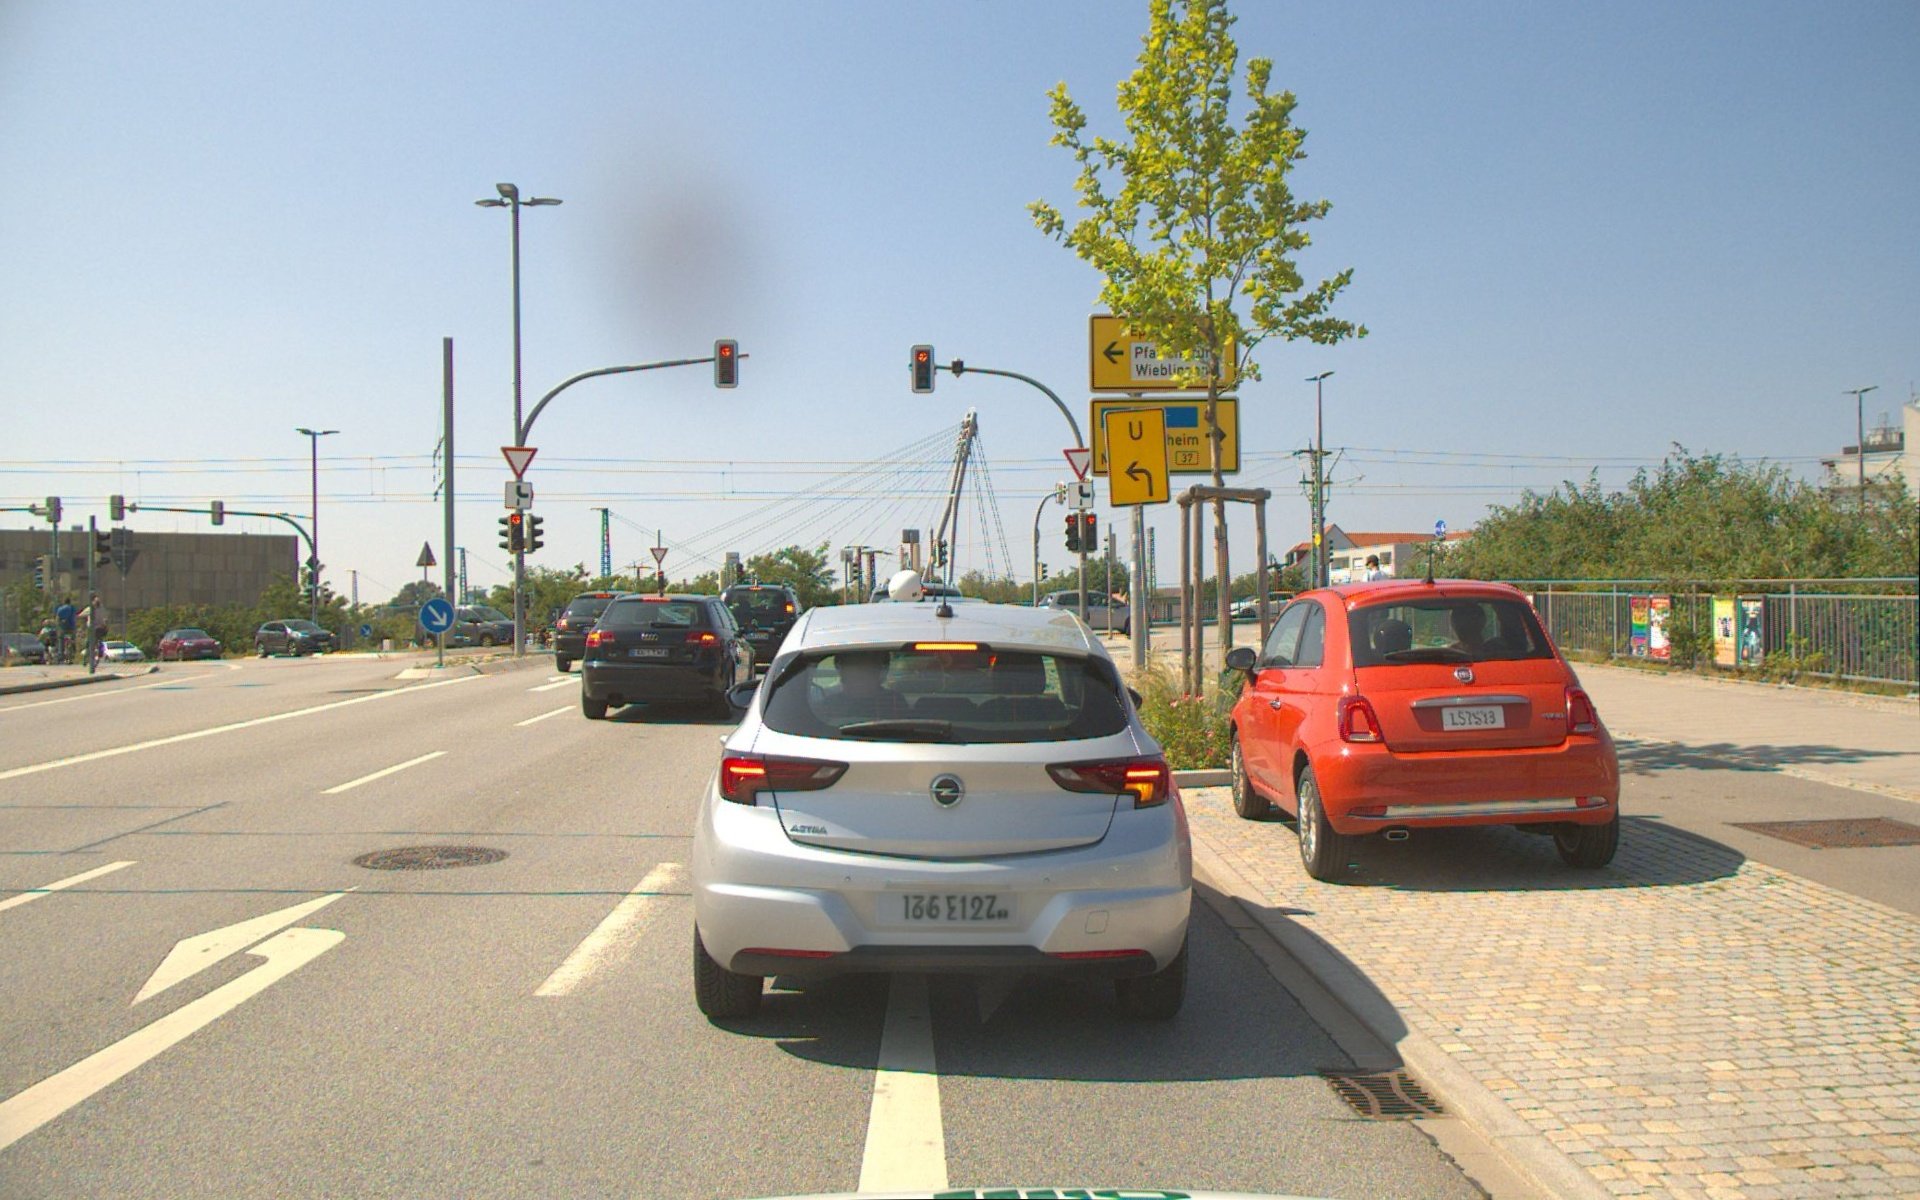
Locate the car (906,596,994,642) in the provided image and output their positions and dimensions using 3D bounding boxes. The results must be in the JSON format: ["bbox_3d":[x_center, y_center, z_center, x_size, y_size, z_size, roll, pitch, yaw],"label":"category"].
[{"bbox_3d":[-0.492,0.906,76.791,3.909,2.049,1.998,-1,-1,-5],"label":"car"}]

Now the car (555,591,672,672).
[{"bbox_3d":[-6.392,0.576,30.785,1.555,1.419,3.338,0,-1,-2],"label":"car"}]

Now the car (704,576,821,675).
[{"bbox_3d":[-3.674,0.476,31.375,1.767,1.650,3.915,-3,-1,-2],"label":"car"}]

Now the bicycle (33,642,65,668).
[{"bbox_3d":[-26.531,1.602,48.160,0.510,0.704,2.224,1,-1,-36],"label":"bicycle"}]

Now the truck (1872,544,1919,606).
[{"bbox_3d":[42.367,-1.029,72.047,4.617,2.585,1.991,1,-1,-16],"label":"truck"}]

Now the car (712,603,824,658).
[{"bbox_3d":[-7.265,1.137,62.933,3.902,2.049,2.001,0,-1,5],"label":"car"}]

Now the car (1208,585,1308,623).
[{"bbox_3d":[13.927,0.198,77.376,4.180,1.703,1.990,1,-1,-18],"label":"car"}]

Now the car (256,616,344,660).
[{"bbox_3d":[-28.560,1.635,71.528,4.133,1.771,1.709,1,-1,39],"label":"car"}]

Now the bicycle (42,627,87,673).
[{"bbox_3d":[-24.194,1.336,44.671,0.720,1.153,2.502,-6,2,-34],"label":"bicycle"}]

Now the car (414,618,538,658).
[{"bbox_3d":[-19.380,1.504,66.305,4.377,1.481,2.001,1,-1,18],"label":"car"}]

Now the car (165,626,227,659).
[{"bbox_3d":[-36.671,2.037,79.336,1.669,1.481,3.941,2,-1,-41],"label":"car"}]

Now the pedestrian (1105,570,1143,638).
[{"bbox_3d":[4.631,0.110,46.762,0.736,1.896,0.742,2,-1,-43],"label":"pedestrian"}]

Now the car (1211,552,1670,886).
[{"bbox_3d":[2.641,0.546,10.022,1.635,1.566,3.917,-2,1,0],"label":"car"}]

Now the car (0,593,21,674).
[{"bbox_3d":[-25.827,0.843,43.468,1.656,2.049,3.952,2,-1,-34],"label":"car"}]

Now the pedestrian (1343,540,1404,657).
[{"bbox_3d":[6.694,-0.020,26.809,0.743,1.862,0.884,1,-1,-1],"label":"pedestrian"}]

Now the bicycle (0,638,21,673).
[{"bbox_3d":[-29.418,1.663,49.348,2.453,1.025,0.605,0,-3,0],"label":"bicycle"}]

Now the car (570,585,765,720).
[{"bbox_3d":[-3.443,0.603,20.161,1.671,1.437,3.999,1,-1,-1],"label":"car"}]

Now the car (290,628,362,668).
[{"bbox_3d":[-34.456,2.571,89.806,3.924,2.049,1.990,0,-1,39],"label":"car"}]

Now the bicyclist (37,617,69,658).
[{"bbox_3d":[-26.455,1.091,48.231,0.723,1.196,0.650,0,-1,-39],"label":"bicyclist"}]

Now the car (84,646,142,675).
[{"bbox_3d":[-44.475,3.158,86.816,1.757,1.356,3.656,2,-1,-43],"label":"car"}]

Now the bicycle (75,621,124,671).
[{"bbox_3d":[-20.931,1.105,40.221,0.670,1.147,2.334,2,-1,-37],"label":"bicycle"}]

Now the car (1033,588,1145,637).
[{"bbox_3d":[4.622,0.451,59.695,3.742,1.657,1.854,1,-1,-6],"label":"car"}]

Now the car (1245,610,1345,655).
[{"bbox_3d":[13.171,1.274,65.137,3.444,1.669,1.795,1,-1,-12],"label":"car"}]

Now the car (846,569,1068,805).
[{"bbox_3d":[-0.069,0.666,14.074,1.602,1.703,3.743,1,-1,-2],"label":"car"}]

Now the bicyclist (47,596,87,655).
[{"bbox_3d":[-24.135,0.688,44.695,0.853,1.587,0.815,2,-1,-35],"label":"bicyclist"}]

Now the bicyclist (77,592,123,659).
[{"bbox_3d":[-20.897,0.618,40.177,0.814,1.596,0.936,2,-1,-37],"label":"bicyclist"}]

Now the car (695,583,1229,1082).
[{"bbox_3d":[-0.040,0.732,7.294,1.656,1.546,4.269,0,0,-1],"label":"car"}]
